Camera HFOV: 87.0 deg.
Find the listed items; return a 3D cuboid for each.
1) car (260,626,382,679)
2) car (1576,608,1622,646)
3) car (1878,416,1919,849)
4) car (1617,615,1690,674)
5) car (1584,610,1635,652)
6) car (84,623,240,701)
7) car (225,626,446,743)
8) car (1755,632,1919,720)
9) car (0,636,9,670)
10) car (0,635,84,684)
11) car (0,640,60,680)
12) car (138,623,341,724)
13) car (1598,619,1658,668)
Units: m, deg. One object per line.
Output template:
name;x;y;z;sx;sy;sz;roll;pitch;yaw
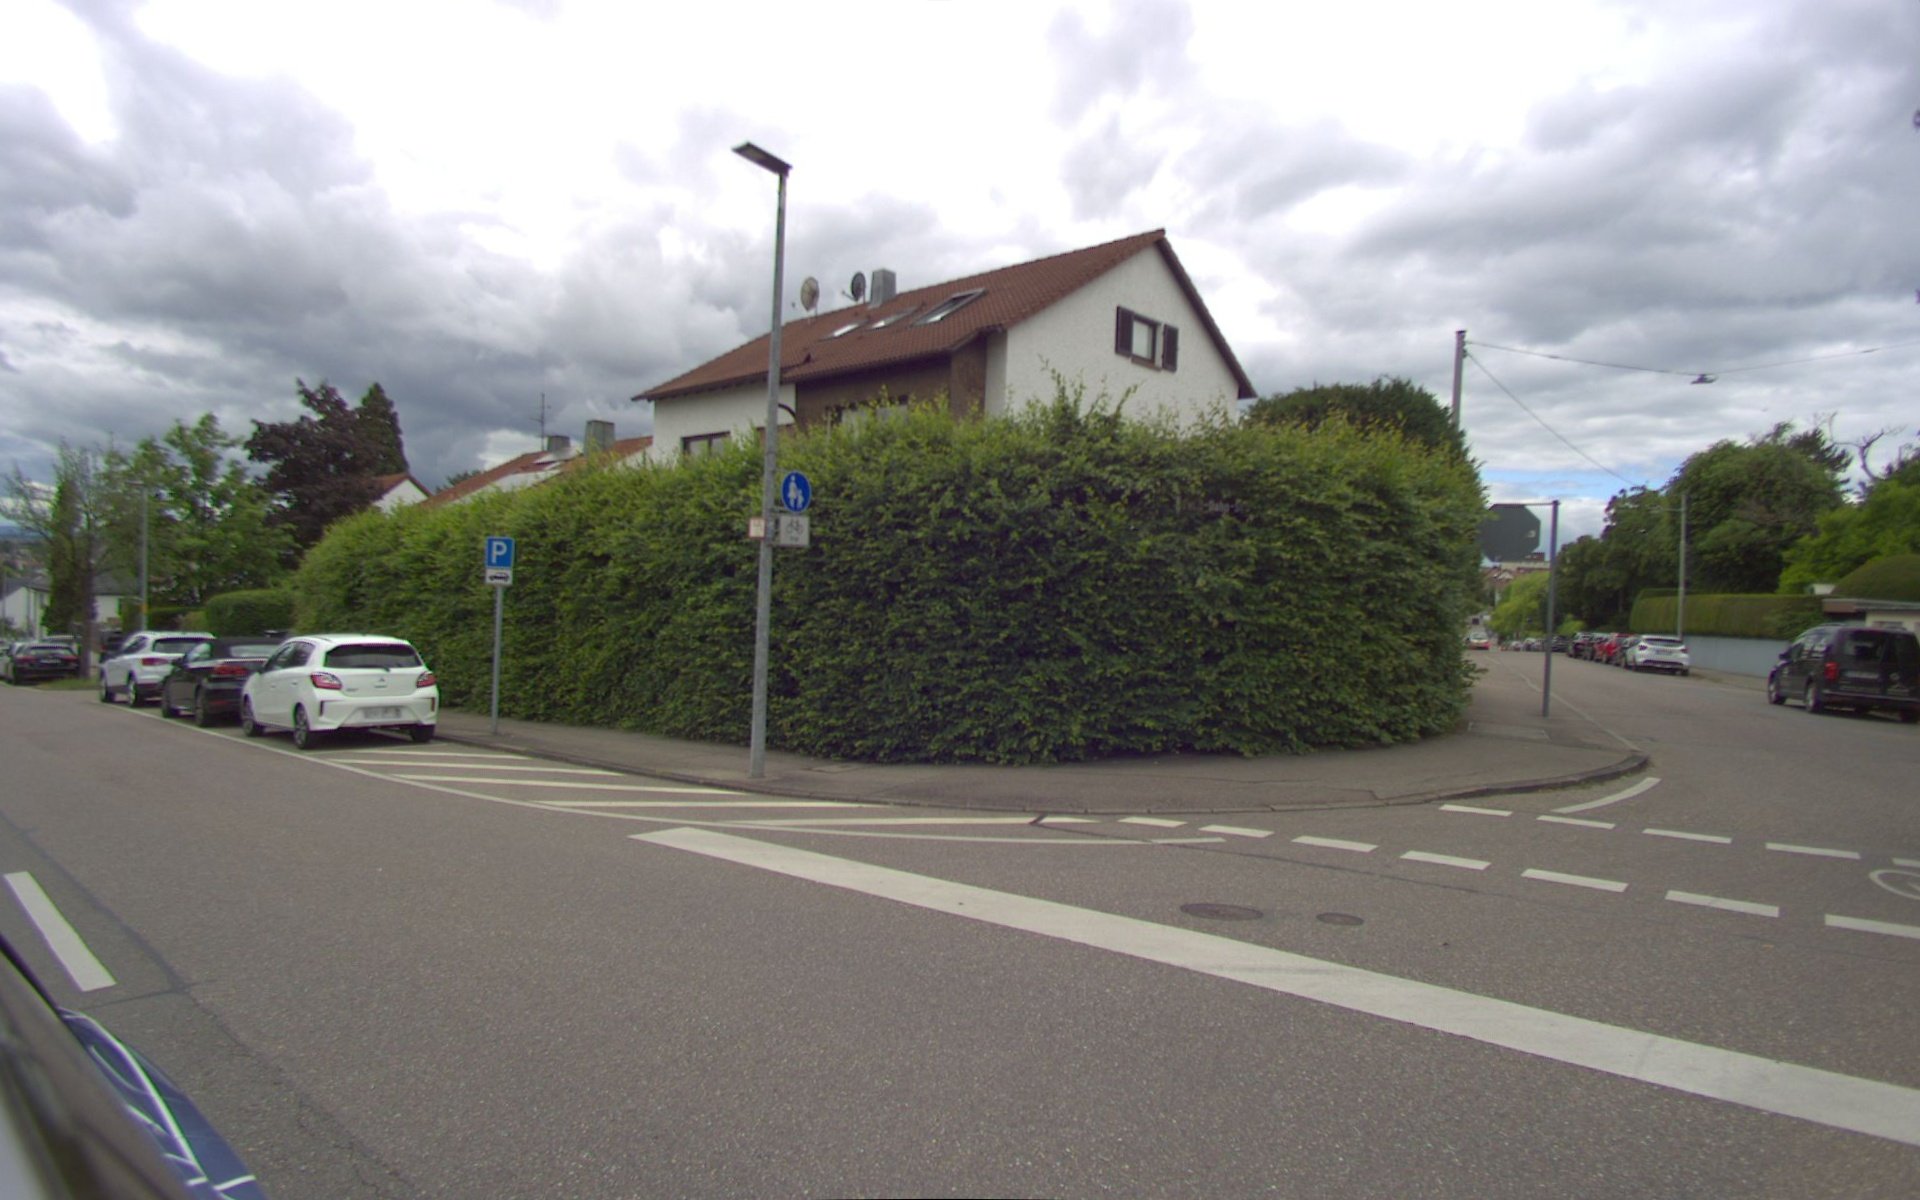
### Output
car;-19.269;1.549;30.557;2.847;1.517;1.500;1;-2;-44
car;35.929;1.496;57.004;2.025;1.824;3.960;-1;3;30
car;5.824;0.121;3.318;2.354;2.621;6.091;-1;-2;25
car;26.950;1.686;39.455;1.882;2.029;3.961;-2;0;29
car;33.690;1.577;52.550;2.025;1.824;3.960;-1;3;30
car;-17.102;1.260;21.623;4.340;1.501;1.866;-2;-2;42
car;-8.833;1.113;14.225;3.579;1.430;1.671;-2;-4;42
car;18.264;1.501;20.953;1.815;1.637;4.049;-1;-2;23
car;-48.592;2.642;50.086;3.999;1.541;1.910;-1;1;42
car;-31.582;1.980;34.619;4.004;1.561;1.919;-2;-2;42
car;-35.272;2.215;38.035;3.998;1.386;1.703;-2;-2;42
car;-12.509;1.203;17.454;4.737;1.501;1.763;-1;-5;42
car;31.668;2.032;48.072;1.955;2.029;4.052;-2;0;29
